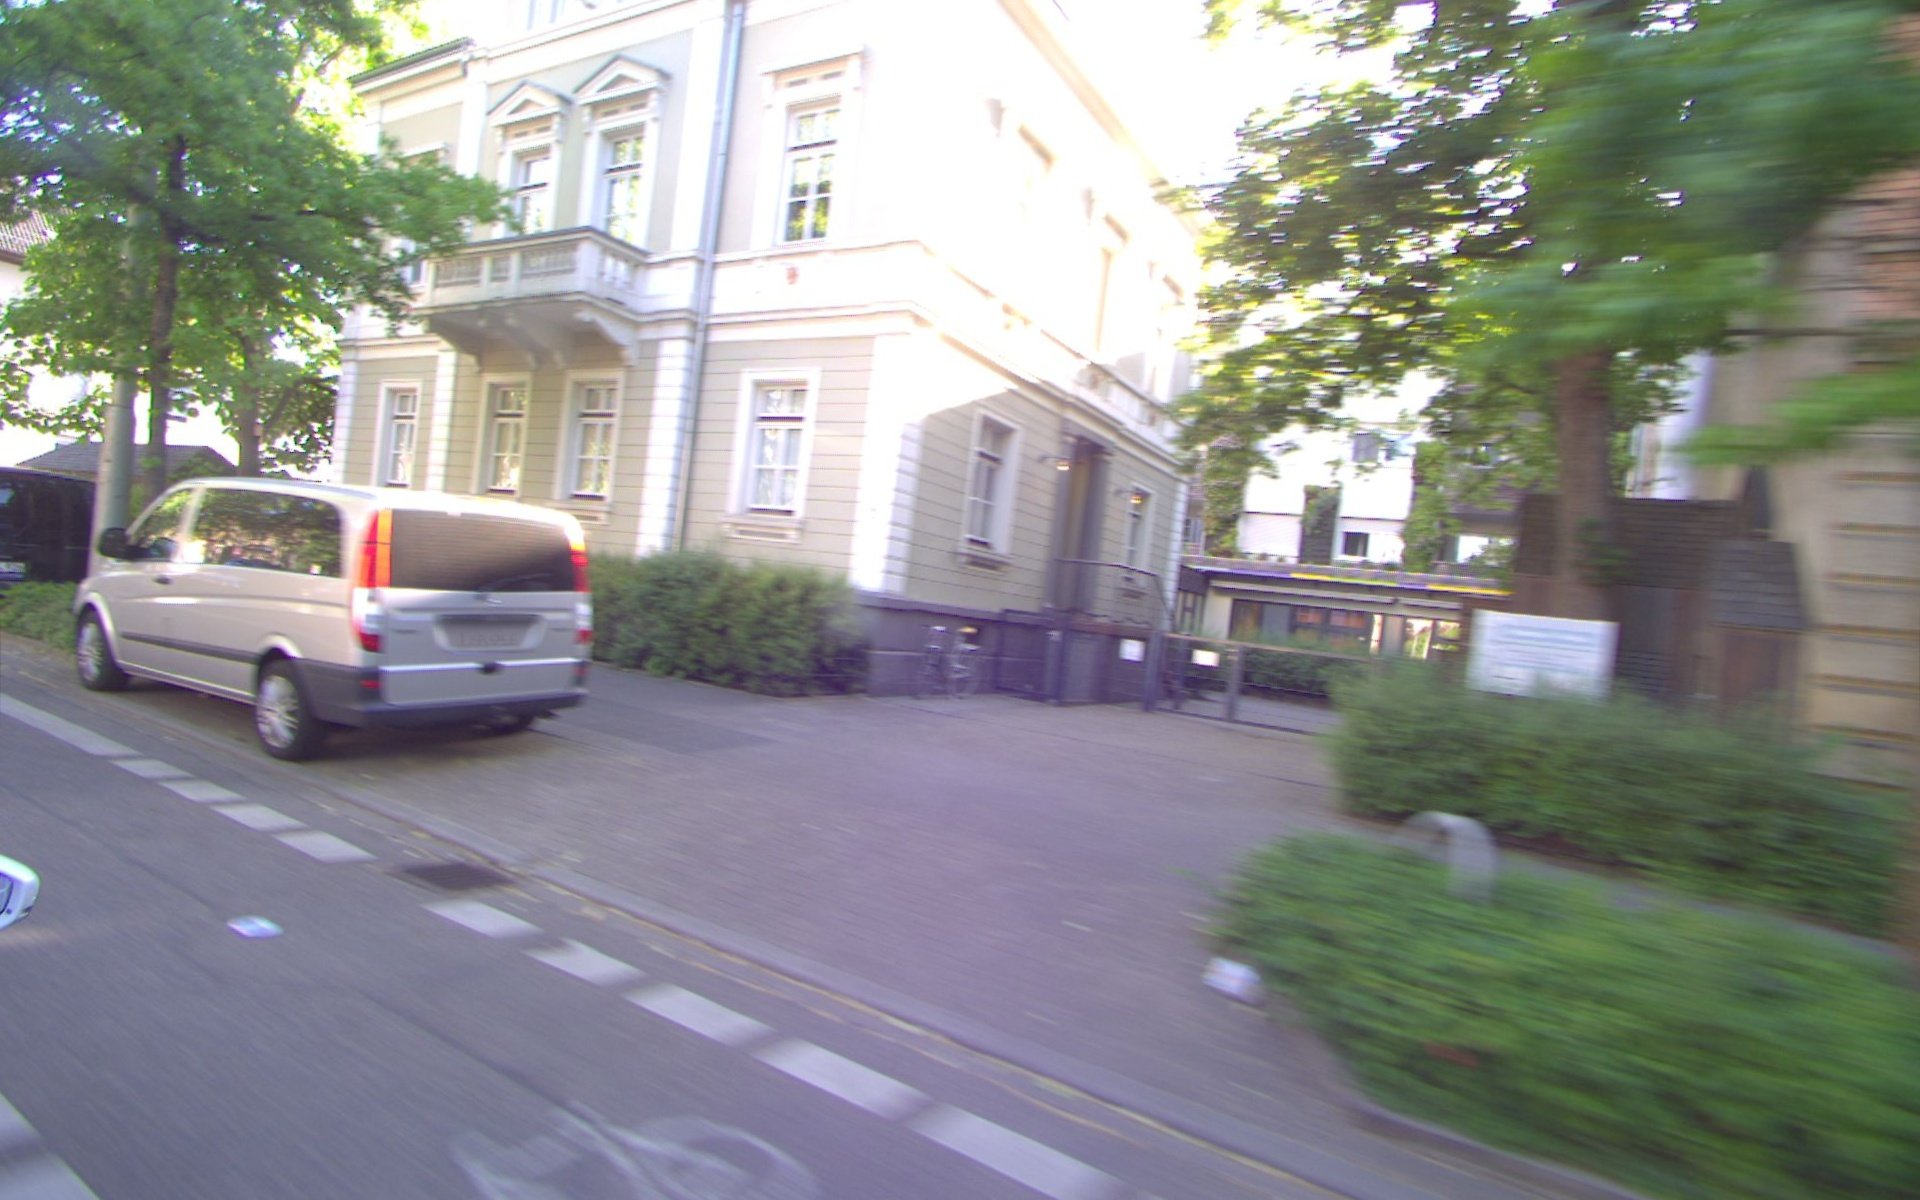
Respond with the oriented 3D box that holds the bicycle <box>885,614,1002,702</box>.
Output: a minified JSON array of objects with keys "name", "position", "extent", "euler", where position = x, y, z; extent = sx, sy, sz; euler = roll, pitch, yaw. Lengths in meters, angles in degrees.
[{"name":"bicycle","position":[-0.187,0.798,13.518],"extent":[0.552,1.048,1.915],"euler":[7,0,31]}]

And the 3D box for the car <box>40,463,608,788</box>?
[{"name":"car","position":[-5.332,0.017,8.207],"extent":[4.885,1.876,1.884],"euler":[6,2,31]}]

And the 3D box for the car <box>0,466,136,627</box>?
[{"name":"car","position":[-12.848,-0.833,13.008],"extent":[4.600,1.788,1.888],"euler":[6,0,31]}]
